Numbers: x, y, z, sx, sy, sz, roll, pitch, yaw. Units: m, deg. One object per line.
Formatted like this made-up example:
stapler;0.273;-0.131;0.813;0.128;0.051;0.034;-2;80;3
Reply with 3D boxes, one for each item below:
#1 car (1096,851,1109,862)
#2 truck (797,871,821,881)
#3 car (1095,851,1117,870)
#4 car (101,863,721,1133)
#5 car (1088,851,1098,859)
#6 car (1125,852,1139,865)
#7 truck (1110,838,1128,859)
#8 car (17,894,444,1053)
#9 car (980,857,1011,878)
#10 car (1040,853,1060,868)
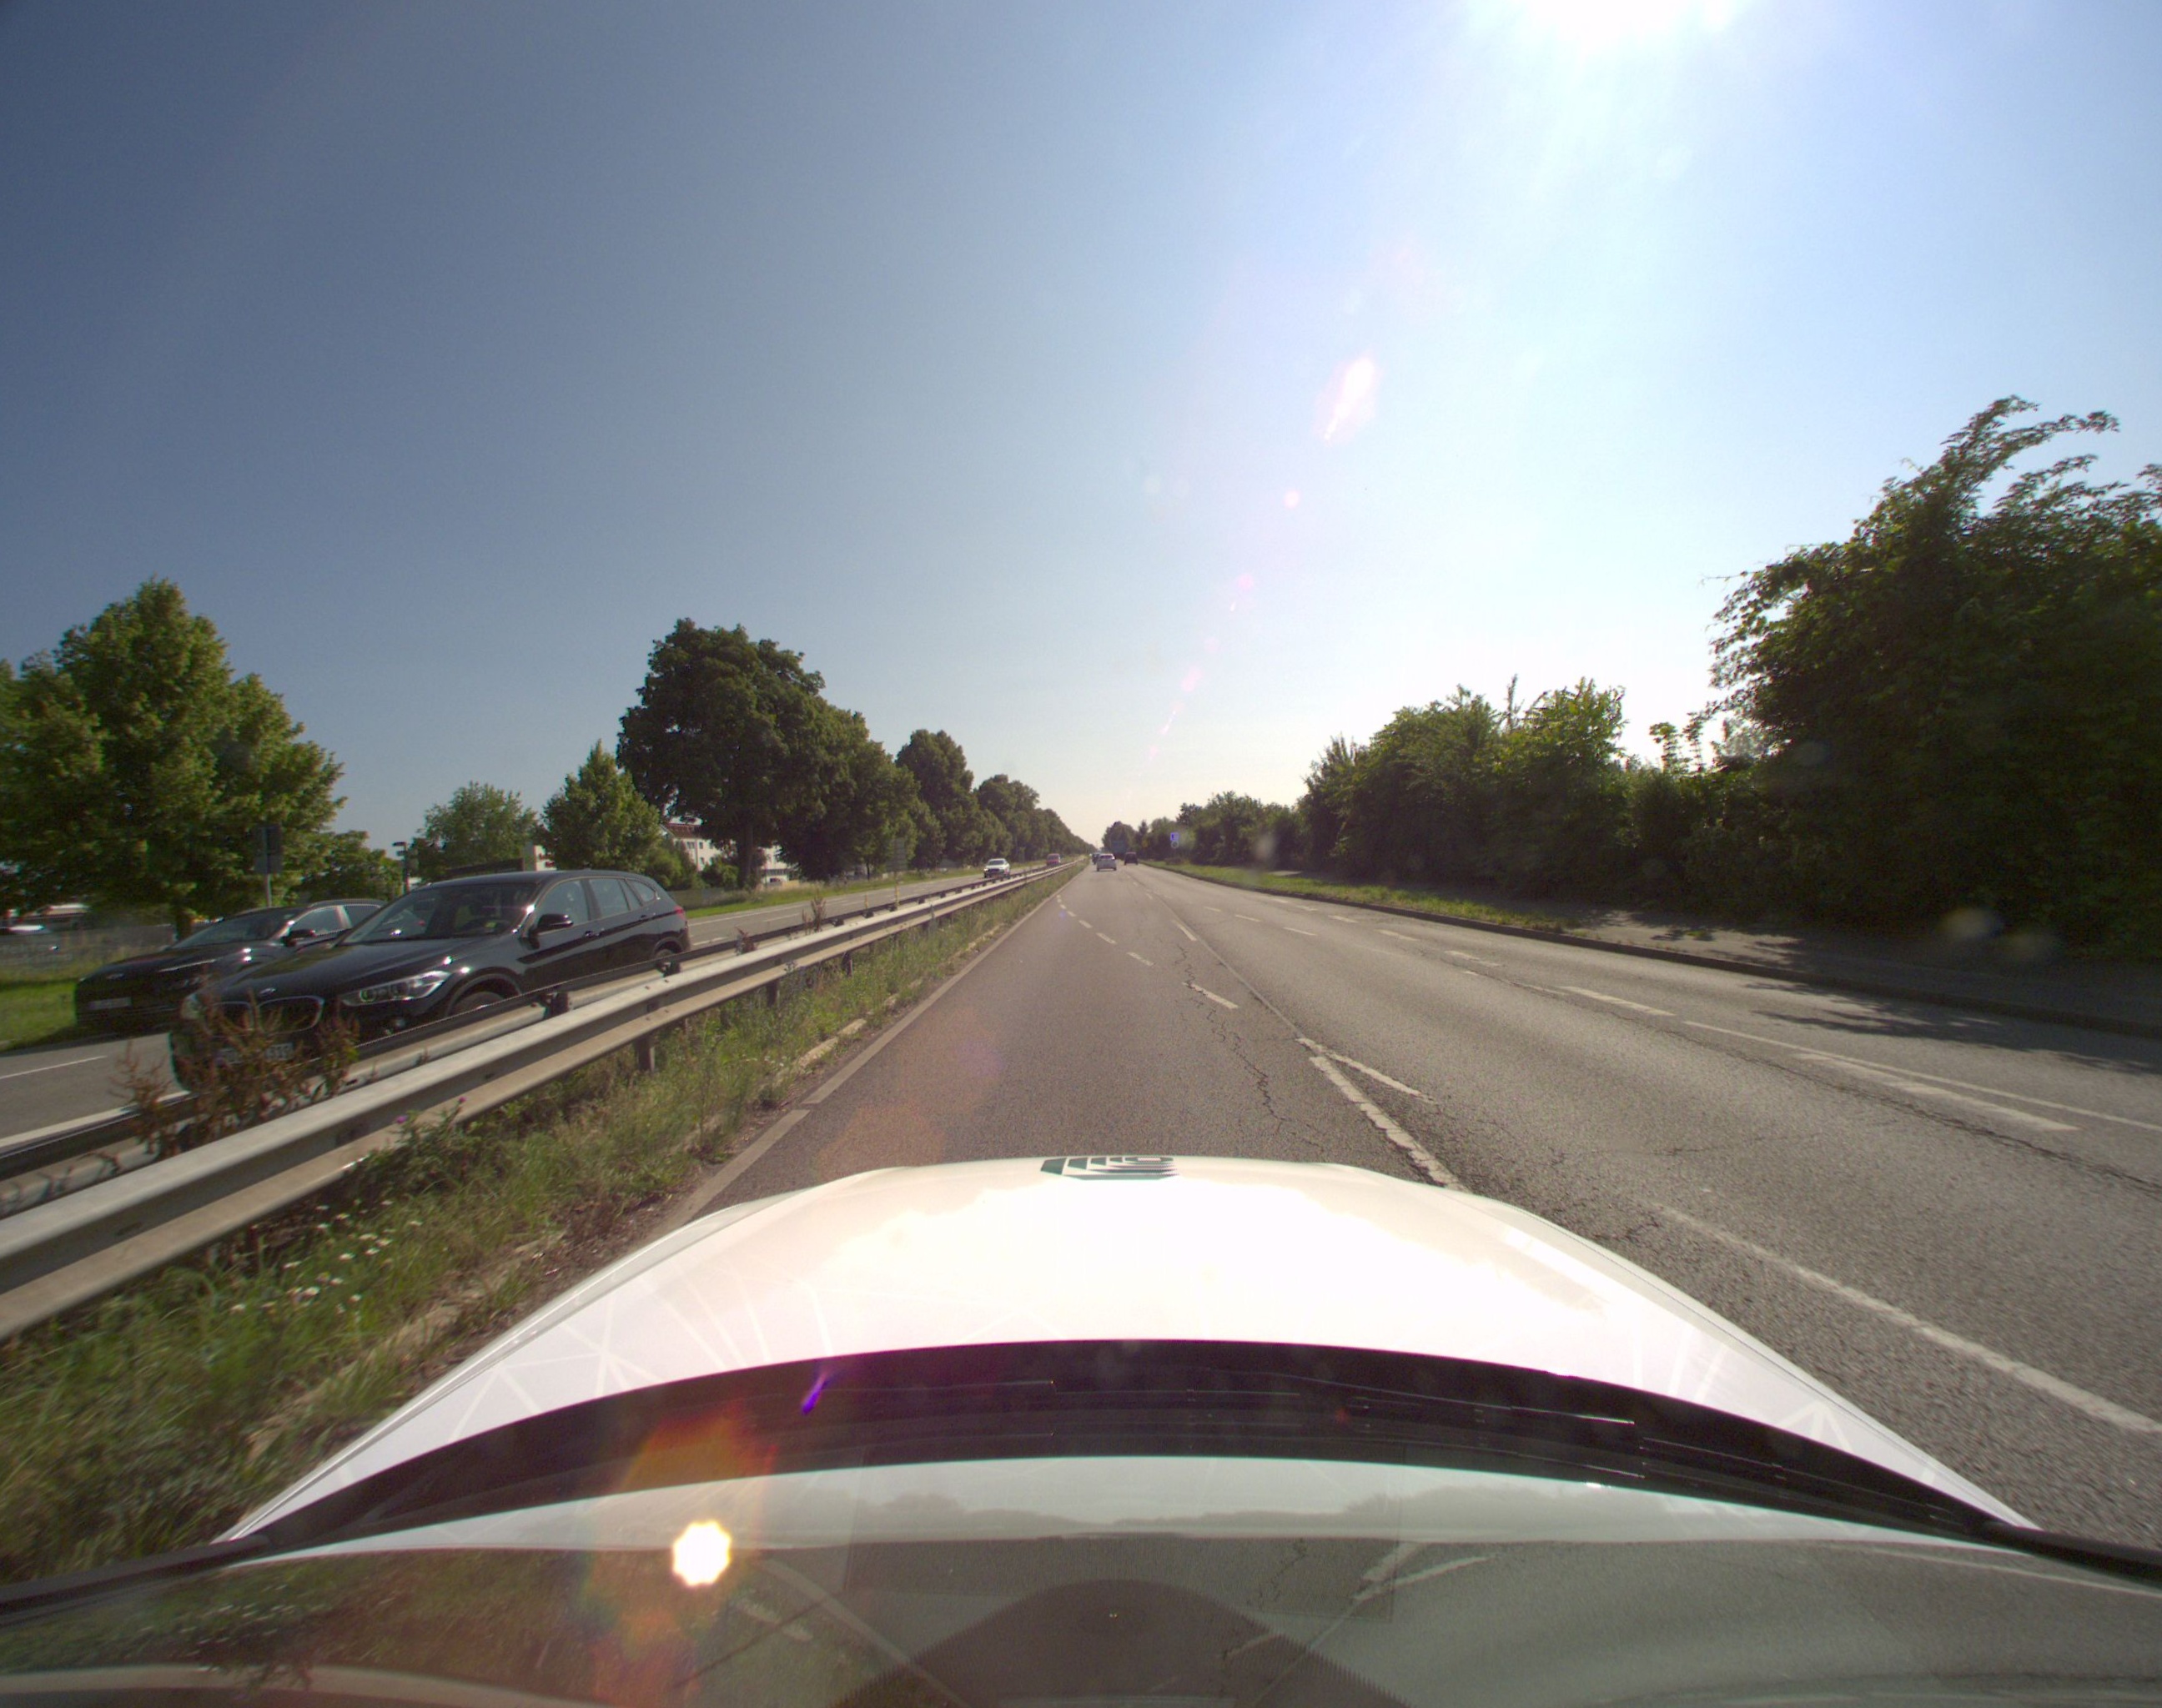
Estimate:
car;2.938;0.356;110.582;1.566;1.414;3.279;-4;0;2
truck;-60.168;4.888;180.275;4.485;2.013;2.053;-3;0;1
car;2.220;0.545;70.732;1.791;1.552;4.003;-3;1;3
car;-5.376;0.964;7.604;1.840;1.594;4.617;-3;0;1
car;2.138;0.153;145.372;1.566;1.414;3.279;-4;0;2
car;6.037;0.579;96.593;1.566;1.414;3.279;-3;-1;2
truck;6.838;-1.048;147.707;2.881;3.428;9.173;-4;0;2
car;-12.150;1.588;12.147;1.840;1.554;4.089;-6;0;2
car;-6.969;1.090;66.957;1.987;1.502;4.091;-4;0;0
car;-3.543;0.708;93.718;1.906;1.502;4.091;-4;0;0
